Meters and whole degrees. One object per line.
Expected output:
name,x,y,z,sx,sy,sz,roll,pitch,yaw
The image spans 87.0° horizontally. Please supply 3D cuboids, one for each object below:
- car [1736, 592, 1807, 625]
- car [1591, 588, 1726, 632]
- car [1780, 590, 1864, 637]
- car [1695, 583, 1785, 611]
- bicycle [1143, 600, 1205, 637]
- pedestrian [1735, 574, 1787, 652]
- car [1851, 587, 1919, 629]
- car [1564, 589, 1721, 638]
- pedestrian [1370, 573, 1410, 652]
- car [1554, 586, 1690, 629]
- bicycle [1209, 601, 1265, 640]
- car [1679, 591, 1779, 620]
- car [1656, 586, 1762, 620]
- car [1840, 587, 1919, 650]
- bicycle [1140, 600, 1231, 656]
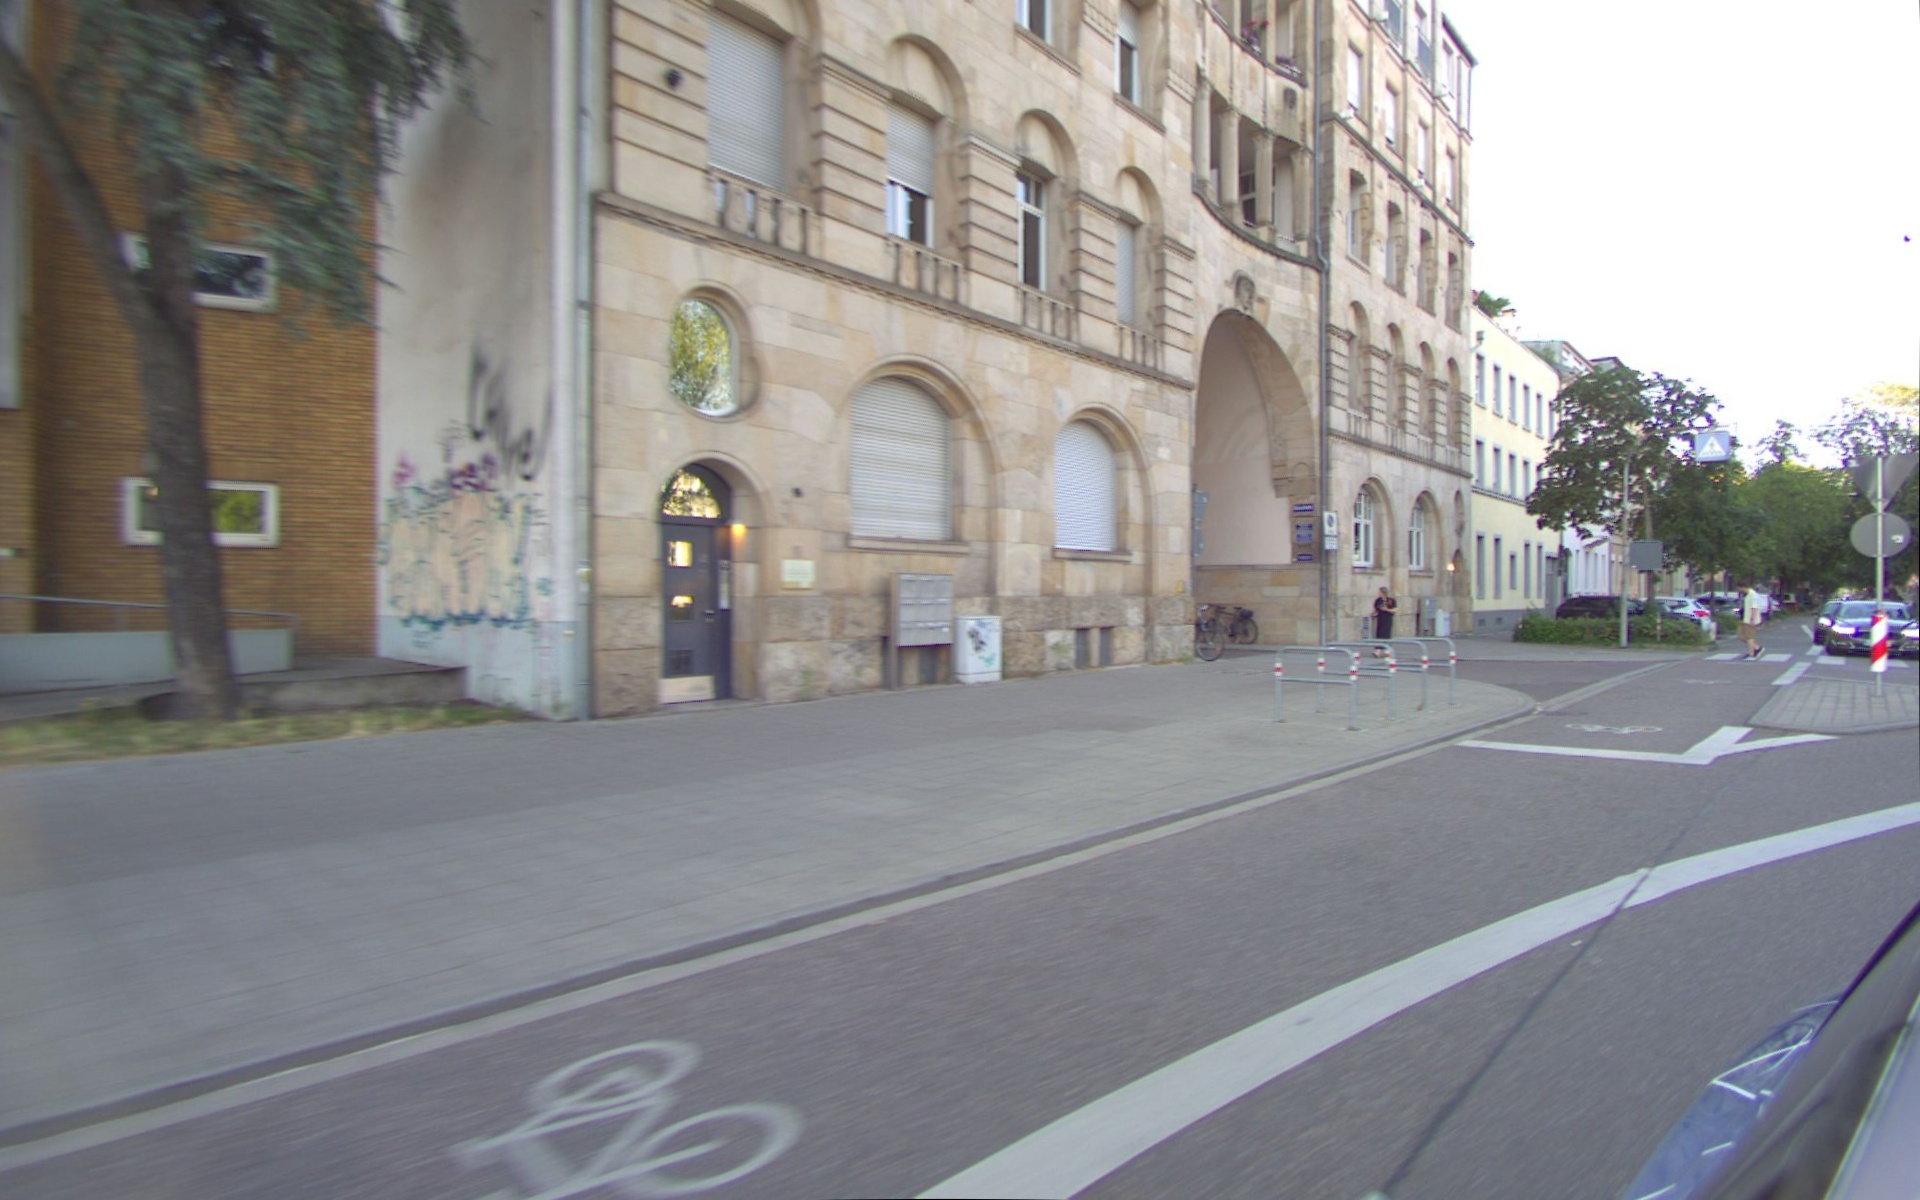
car,60.974,0.627,76.086,4.052,2.323,1.970,1,0,42
car,27.134,0.376,39.386,4.056,1.590,1.808,1,0,45
car,29.336,0.437,34.405,4.067,1.501,1.816,1,0,-44
car,48.599,-0.212,63.119,4.381,1.633,1.703,1,0,42
bicycle,5.992,0.509,28.418,1.727,0.998,0.407,1,0,42
pedestrian,18.965,0.301,23.962,0.804,1.814,0.593,1,0,-15
car,47.908,0.416,50.287,1.926,2.048,5.091,1,0,-25
car,24.018,0.433,35.711,4.385,1.577,1.808,1,0,44
pedestrian,9.703,0.273,22.845,0.709,1.731,0.576,1,0,-44
car,24.927,0.254,38.205,4.055,1.504,1.808,1,0,44
bicycle,7.404,0.530,27.113,1.436,0.998,0.355,1,0,42
car,43.673,0.304,57.545,1.961,1.571,4.071,1,0,-32
car,36.560,0.120,49.441,4.052,1.571,1.970,1,0,42
car,24.186,0.460,26.427,1.814,1.501,4.073,1,0,41
bicycle,4.618,0.561,20.817,1.848,1.086,0.423,1,0,42
